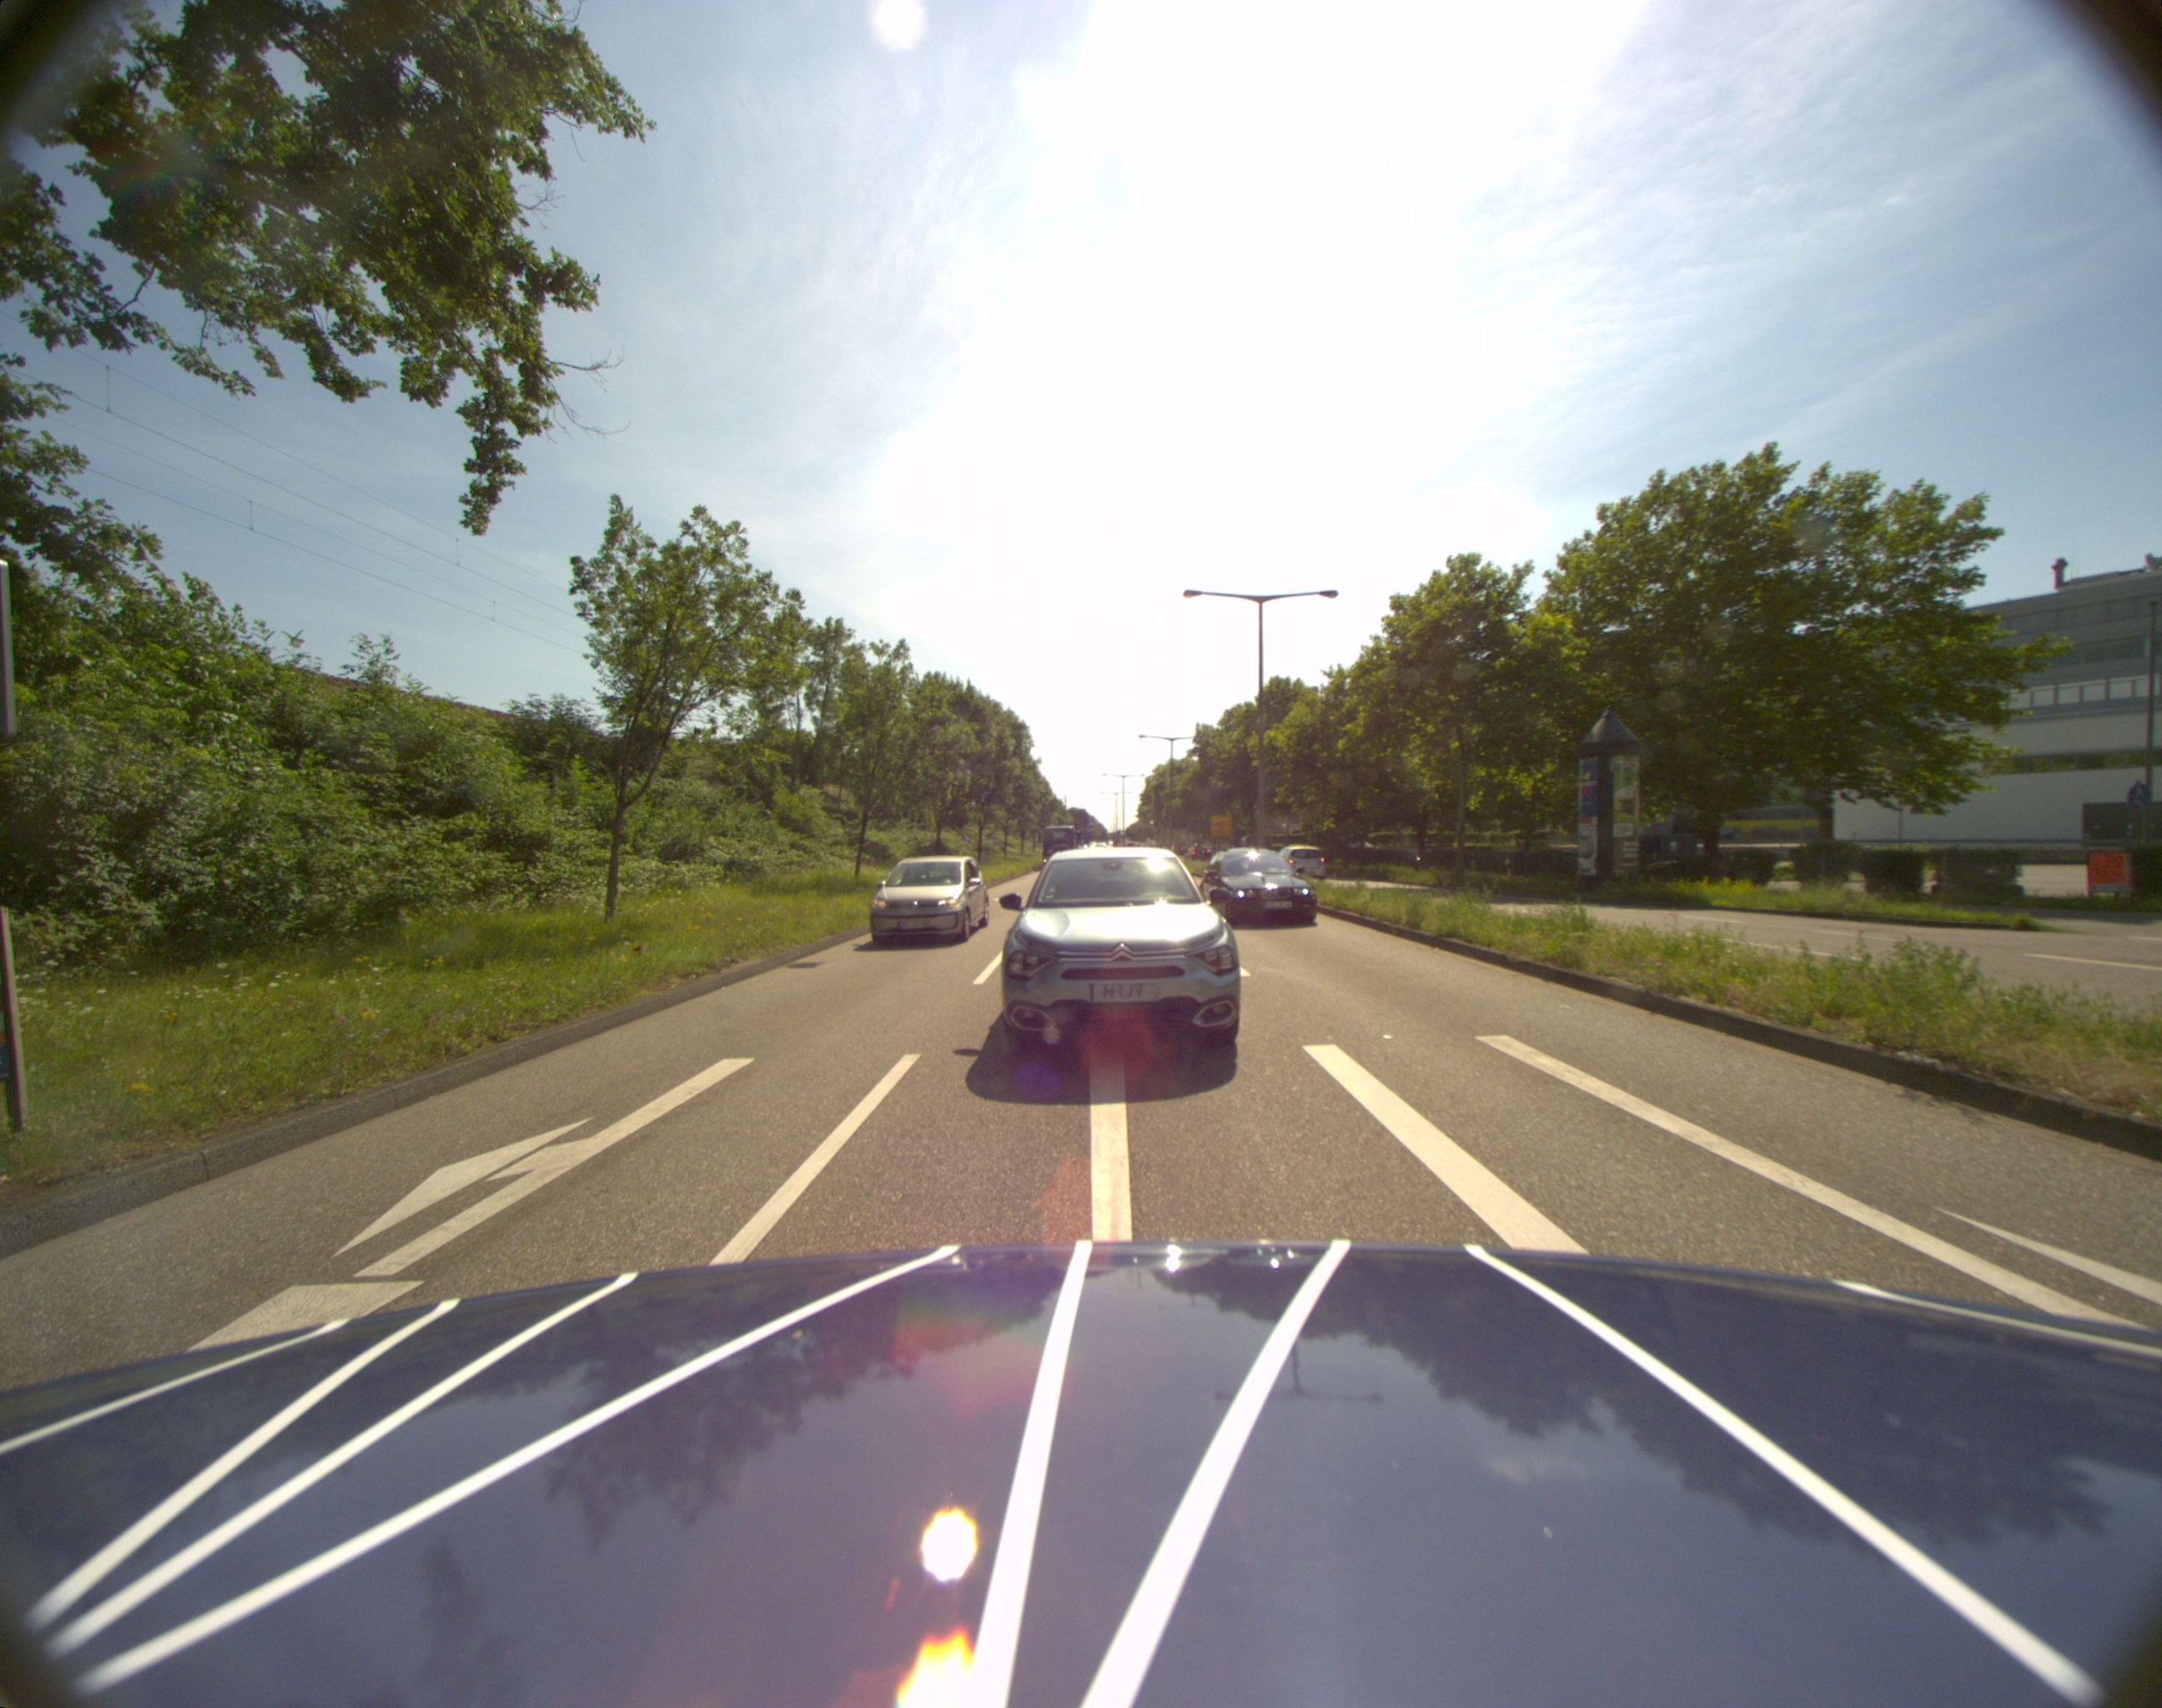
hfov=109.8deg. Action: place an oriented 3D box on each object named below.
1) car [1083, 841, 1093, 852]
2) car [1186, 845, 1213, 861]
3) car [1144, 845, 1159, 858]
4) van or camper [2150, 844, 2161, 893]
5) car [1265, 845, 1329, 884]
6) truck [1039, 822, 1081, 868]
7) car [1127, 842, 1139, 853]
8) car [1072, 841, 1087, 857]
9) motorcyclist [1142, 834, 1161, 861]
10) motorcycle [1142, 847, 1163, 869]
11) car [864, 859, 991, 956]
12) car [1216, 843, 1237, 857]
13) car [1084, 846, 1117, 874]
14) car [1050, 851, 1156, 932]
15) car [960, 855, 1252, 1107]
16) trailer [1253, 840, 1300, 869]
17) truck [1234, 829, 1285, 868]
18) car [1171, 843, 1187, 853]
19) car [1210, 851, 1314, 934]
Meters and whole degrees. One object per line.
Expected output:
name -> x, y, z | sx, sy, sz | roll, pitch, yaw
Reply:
car -> 1.321, -1.443, 146.288 | 1.998, 2.002, 3.999 | -1, 1, 1
car -> 10.849, -0.095, 69.664 | 1.852, 1.426, 3.767 | 0, 0, 0
car -> 11.510, -0.452, 124.186 | 1.998, 2.002, 4.000 | -1, 1, 1
van or camper -> 39.510, 0.490, 25.269 | 2.004, 1.682, 4.500 | -1, 1, -37
car -> 8.897, 0.394, 31.551 | 1.653, 1.505, 3.735 | -1, 1, 1
truck -> -1.503, -0.678, 58.312 | 2.775, 3.248, 7.482 | 0, 1, 1
car -> 9.287, -1.157, 136.151 | 1.998, 2.002, 4.000 | -1, 1, 1
car -> -0.196, -0.667, 100.391 | 1.998, 2.002, 3.999 | -1, 1, 1
motorcyclist -> 4.406, -0.413, 47.359 | 1.066, 1.689, 1.042 | -1, 1, 0
motorcycle -> 4.401, 0.231, 47.086 | 1.052, 1.343, 2.331 | -1, 1, 0
car -> -2.689, 0.877, 14.122 | 1.705, 1.429, 3.677 | -2, 1, -2
car -> 15.786, -0.441, 82.683 | 1.843, 1.415, 3.895 | 1, 1, 6
car -> 1.162, 0.303, 44.524 | 1.826, 1.521, 4.547 | -1, 1, 2
car -> 0.453, 0.710, 16.451 | 1.998, 1.492, 3.999 | -1, 1, 1
car -> 0.246, 0.812, 7.170 | 1.826, 1.521, 4.751 | -1, 1, 2
trailer -> 12.099, 0.033, 47.244 | 2.066, 1.706, 3.991 | -1, 1, 2
truck -> 12.313, -0.396, 52.830 | 2.144, 2.461, 7.129 | -1, 1, 3
car -> 14.482, -0.899, 112.655 | 1.844, 1.414, 4.221 | 1, 1, 0
car -> 3.572, 0.684, 15.286 | 1.729, 1.354, 4.070 | -2, 1, 12
